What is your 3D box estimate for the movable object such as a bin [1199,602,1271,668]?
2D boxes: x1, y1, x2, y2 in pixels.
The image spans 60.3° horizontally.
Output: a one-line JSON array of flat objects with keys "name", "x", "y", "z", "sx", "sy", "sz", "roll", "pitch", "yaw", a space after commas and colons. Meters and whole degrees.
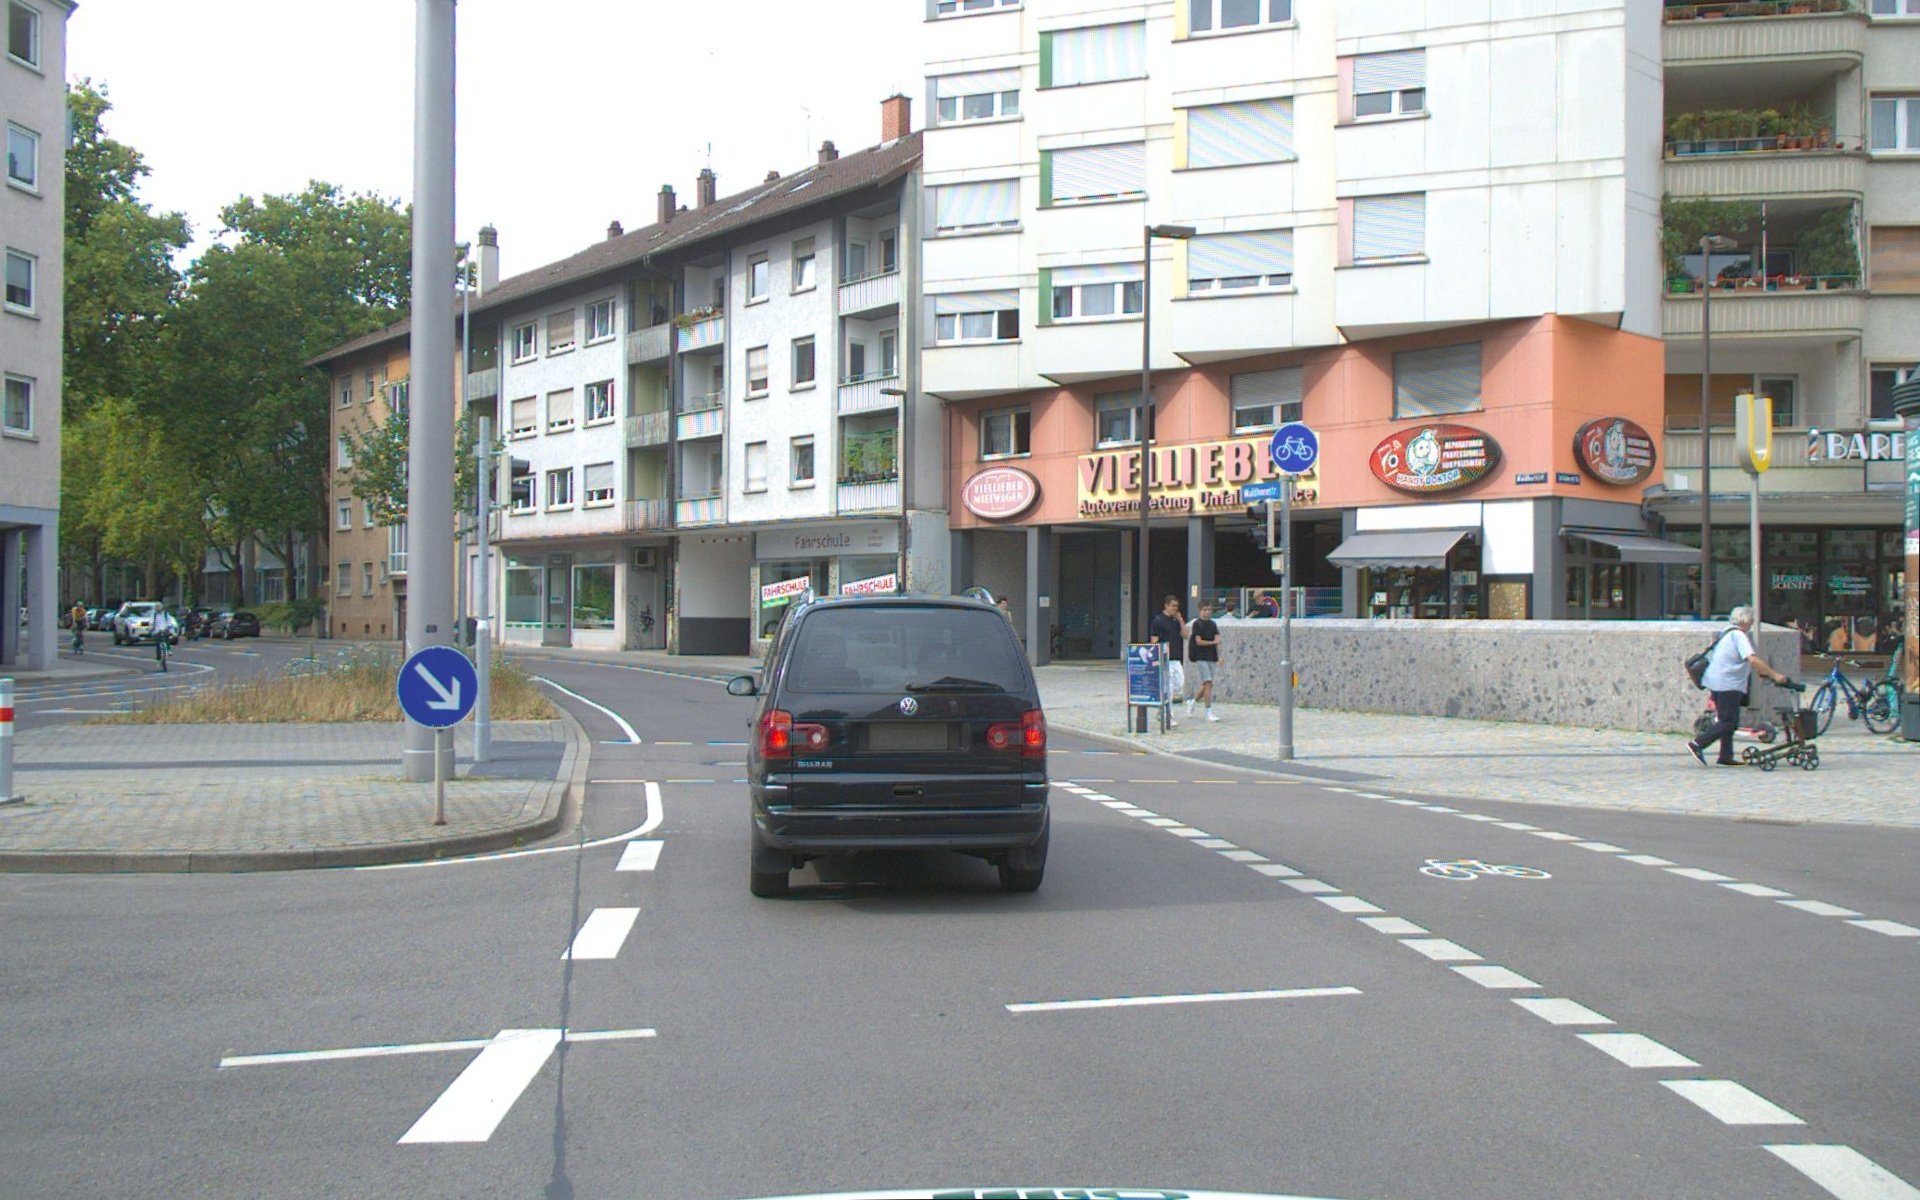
[{"name": "movable object such as a bin", "x": 6.334, "y": 0.791, "z": 38.064, "sx": 1.139, "sy": 1.486, "sz": 1.205, "roll": 1, "pitch": -1, "yaw": -41}]

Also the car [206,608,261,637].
[{"name": "car", "x": -38.626, "y": 1.194, "z": 87.876, "sx": 1.648, "sy": 1.447, "sz": 3.810, "roll": 1, "pitch": 0, "yaw": -40}]

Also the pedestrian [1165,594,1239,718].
[{"name": "pedestrian", "x": 3.707, "y": 0.842, "z": 25.346, "sx": 0.871, "sy": 1.831, "sz": 0.672, "roll": 0, "pitch": 2, "yaw": 45}]

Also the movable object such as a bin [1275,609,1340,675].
[{"name": "movable object such as a bin", "x": 8.298, "y": 0.982, "z": 39.525, "sx": 0.996, "sy": 1.542, "sz": 1.150, "roll": 1, "pitch": -1, "yaw": -41}]

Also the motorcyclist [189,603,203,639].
[{"name": "motorcyclist", "x": -36.101, "y": 1.005, "z": 78.163, "sx": 0.443, "sy": 1.676, "sz": 0.512, "roll": 1, "pitch": -1, "yaw": -40}]

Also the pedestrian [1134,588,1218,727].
[{"name": "pedestrian", "x": 3.223, "y": 0.829, "z": 24.699, "sx": 0.997, "sy": 2.005, "sz": 0.716, "roll": 0, "pitch": 2, "yaw": 45}]

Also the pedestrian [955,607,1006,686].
[{"name": "pedestrian", "x": 0.455, "y": 1.024, "z": 36.639, "sx": 0.601, "sy": 1.697, "sz": 0.929, "roll": -3, "pitch": 2, "yaw": -42}]

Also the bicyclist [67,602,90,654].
[{"name": "bicyclist", "x": -29.823, "y": 0.942, "z": 55.969, "sx": 0.534, "sy": 1.774, "sz": 0.746, "roll": 1, "pitch": -1, "yaw": -41}]

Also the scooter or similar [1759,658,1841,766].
[{"name": "scooter or similar", "x": 9.119, "y": 1.202, "z": 17.972, "sx": 0.685, "sy": 1.130, "sz": 0.609, "roll": -1, "pitch": 0, "yaw": 17}]

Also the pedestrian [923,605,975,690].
[{"name": "pedestrian", "x": -0.234, "y": 1.031, "z": 36.195, "sx": 0.744, "sy": 1.780, "sz": 0.849, "roll": -3, "pitch": 2, "yaw": -33}]

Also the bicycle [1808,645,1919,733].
[{"name": "bicycle", "x": 12.135, "y": 1.154, "z": 21.974, "sx": 2.422, "sy": 1.031, "sz": 0.538, "roll": -1, "pitch": 0, "yaw": -37}]

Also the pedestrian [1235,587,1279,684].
[{"name": "pedestrian", "x": 6.086, "y": 0.722, "z": 33.879, "sx": 0.668, "sy": 1.936, "sz": 0.581, "roll": -2, "pitch": 1, "yaw": -39}]

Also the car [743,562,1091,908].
[{"name": "car", "x": -0.452, "y": 0.720, "z": 10.579, "sx": 1.779, "sy": 1.797, "sz": 3.730, "roll": 0, "pitch": -1, "yaw": -9}]

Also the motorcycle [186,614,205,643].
[{"name": "motorcycle", "x": -36.117, "y": 1.342, "z": 78.153, "sx": 0.370, "sy": 1.373, "sz": 1.706, "roll": 1, "pitch": -1, "yaw": -40}]

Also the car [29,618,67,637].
[{"name": "car", "x": -69.406, "y": 2.066, "z": 125.822, "sx": 1.666, "sy": 1.418, "sz": 4.394, "roll": 2, "pitch": -1, "yaw": -41}]

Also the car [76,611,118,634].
[{"name": "car", "x": -58.018, "y": 1.487, "z": 111.161, "sx": 1.620, "sy": 1.496, "sz": 4.253, "roll": 2, "pitch": -1, "yaw": -41}]

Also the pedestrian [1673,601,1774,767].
[{"name": "pedestrian", "x": 8.382, "y": 0.902, "z": 18.187, "sx": 0.915, "sy": 1.770, "sz": 0.686, "roll": 0, "pitch": 0, "yaw": 18}]

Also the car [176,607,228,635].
[{"name": "car", "x": -41.860, "y": 1.160, "z": 91.299, "sx": 1.648, "sy": 1.447, "sz": 3.889, "roll": 1, "pitch": 0, "yaw": -40}]

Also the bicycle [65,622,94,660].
[{"name": "bicycle", "x": -29.749, "y": 1.381, "z": 55.866, "sx": 0.508, "sy": 1.247, "sz": 1.540, "roll": 1, "pitch": -1, "yaw": -41}]

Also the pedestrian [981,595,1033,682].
[{"name": "pedestrian", "x": 1.055, "y": 0.846, "z": 36.989, "sx": 0.651, "sy": 1.884, "sz": 0.958, "roll": -3, "pitch": 1, "yaw": -37}]

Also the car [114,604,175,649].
[{"name": "car", "x": -32.214, "y": 1.030, "z": 65.282, "sx": 1.814, "sy": 1.689, "sz": 4.278, "roll": 1, "pitch": 0, "yaw": -31}]

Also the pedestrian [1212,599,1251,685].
[{"name": "pedestrian", "x": 5.474, "y": 0.833, "z": 33.340, "sx": 0.469, "sy": 1.702, "sz": 0.581, "roll": -2, "pitch": 1, "yaw": -39}]

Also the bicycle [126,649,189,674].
[{"name": "bicycle", "x": -21.103, "y": 1.619, "z": 43.534, "sx": 0.473, "sy": 0.598, "sz": 1.999, "roll": 0, "pitch": 0, "yaw": 8}]

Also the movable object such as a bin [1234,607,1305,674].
[{"name": "movable object such as a bin", "x": 7.270, "y": 0.934, "z": 38.848, "sx": 1.187, "sy": 1.542, "sz": 1.179, "roll": 1, "pitch": -1, "yaw": -41}]

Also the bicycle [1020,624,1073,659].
[{"name": "bicycle", "x": 2.388, "y": 1.147, "z": 45.849, "sx": 0.449, "sy": 0.912, "sz": 1.654, "roll": 1, "pitch": 0, "yaw": -40}]

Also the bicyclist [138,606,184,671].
[{"name": "bicyclist", "x": -21.011, "y": 1.010, "z": 43.509, "sx": 0.595, "sy": 1.675, "sz": 1.038, "roll": 0, "pitch": -1, "yaw": 7}]

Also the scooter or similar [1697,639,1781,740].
[{"name": "scooter or similar", "x": 9.923, "y": 1.128, "z": 21.096, "sx": 0.281, "sy": 1.234, "sz": 1.120, "roll": 1, "pitch": -1, "yaw": -18}]
